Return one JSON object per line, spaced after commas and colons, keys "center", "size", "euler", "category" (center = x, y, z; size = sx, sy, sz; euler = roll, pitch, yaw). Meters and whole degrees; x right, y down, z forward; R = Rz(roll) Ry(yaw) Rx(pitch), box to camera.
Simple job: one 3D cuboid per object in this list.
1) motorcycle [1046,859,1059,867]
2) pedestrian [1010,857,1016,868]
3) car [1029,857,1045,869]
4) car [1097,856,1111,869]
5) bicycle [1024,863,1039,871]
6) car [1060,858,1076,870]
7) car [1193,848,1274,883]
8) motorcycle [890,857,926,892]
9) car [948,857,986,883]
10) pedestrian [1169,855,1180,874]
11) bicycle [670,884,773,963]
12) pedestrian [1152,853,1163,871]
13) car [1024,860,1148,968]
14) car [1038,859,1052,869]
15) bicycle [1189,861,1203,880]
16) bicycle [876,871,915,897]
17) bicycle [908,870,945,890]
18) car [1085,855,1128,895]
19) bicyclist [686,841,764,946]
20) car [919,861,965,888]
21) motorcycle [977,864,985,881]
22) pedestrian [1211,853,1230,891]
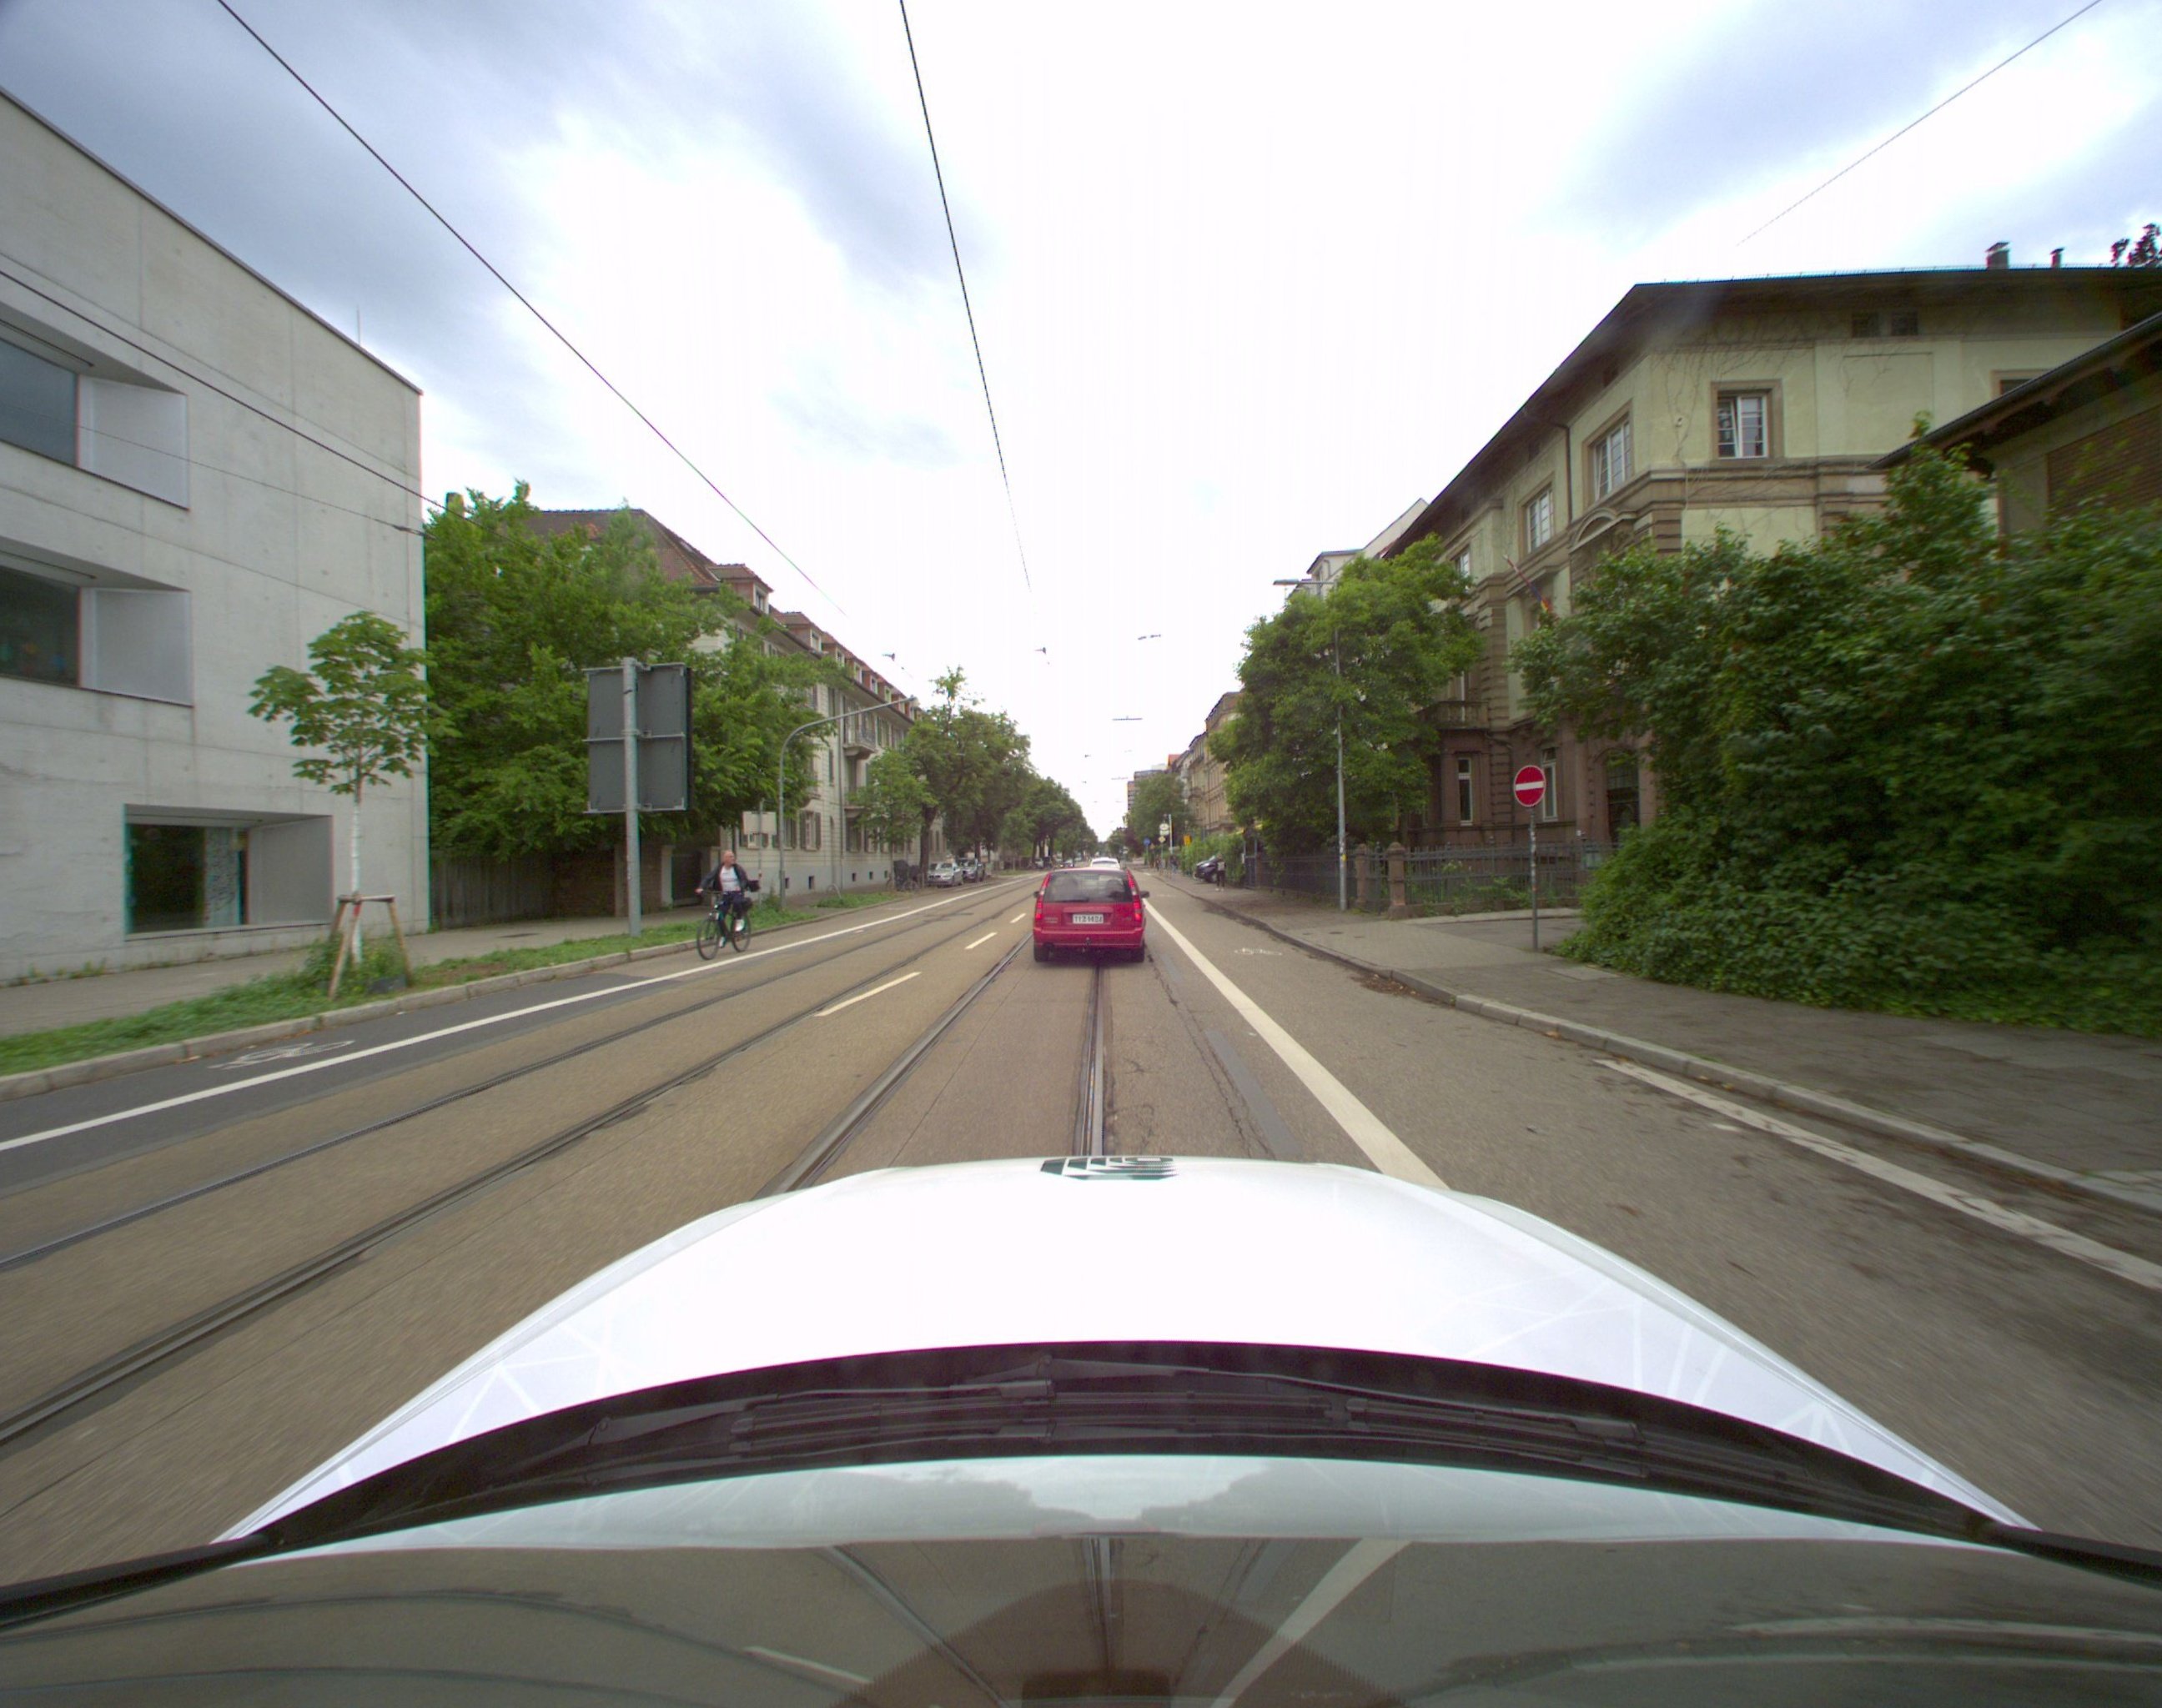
{"center": [-5.401, 1.745, 154.927], "size": [2.243, 1.511, 0.932], "euler": [-2, -2, 36], "category": "motorcycle"}
{"center": [-8.840, 1.114, 105.848], "size": [0.562, 1.467, 0.723], "euler": [-2, -1, 2], "category": "pedestrian"}
{"center": [-6.145, 1.214, 114.418], "size": [1.891, 1.655, 4.225], "euler": [-1, 0, 0], "category": "car"}
{"center": [3.053, 1.159, 109.923], "size": [1.736, 1.606, 3.999], "euler": [-1, 0, -1], "category": "car"}
{"center": [-6.720, 1.733, 110.336], "size": [1.915, 1.121, 0.624], "euler": [0, -1, 1], "category": "bicycle"}
{"center": [-1.572, 1.161, 98.271], "size": [1.723, 1.409, 3.656], "euler": [-2, 0, 1], "category": "car"}
{"center": [8.623, 0.639, 46.187], "size": [4.263, 1.809, 1.825], "euler": [-2, 0, 3], "category": "car"}
{"center": [-8.596, 0.994, 40.610], "size": [0.827, 1.643, 2.486], "euler": [-2, 0, 9], "category": "motorcycle"}
{"center": [-7.771, 1.088, 55.815], "size": [1.830, 1.661, 4.296], "euler": [1, 0, 3], "category": "car"}
{"center": [8.235, 0.890, 71.671], "size": [0.790, 1.636, 0.836], "euler": [-3, -1, 1], "category": "pedestrian"}
{"center": [-6.340, 1.191, 14.501], "size": [0.788, 1.186, 2.011], "euler": [-4, 0, 2], "category": "bicycle"}
{"center": [7.379, 0.780, 78.830], "size": [0.866, 1.656, 0.912], "euler": [-2, 0, 14], "category": "pedestrian"}
{"center": [0.145, 0.841, 13.159], "size": [1.682, 1.441, 3.745], "euler": [-1, 0, 2], "category": "car"}
{"center": [-5.881, 1.617, 133.236], "size": [1.770, 1.511, 4.240], "euler": [-1, 0, 2], "category": "car"}
{"center": [7.402, 1.036, 52.612], "size": [0.630, 1.127, 1.813], "euler": [-4, 0, 1], "category": "bicycle"}
{"center": [-8.716, 1.416, 38.282], "size": [1.727, 1.129, 0.520], "euler": [-2, -1, 19], "category": "bicycle"}
{"center": [-8.345, 1.410, 44.098], "size": [1.890, 1.027, 0.563], "euler": [0, -1, -3], "category": "bicycle"}
{"center": [1.147, 0.885, 35.514], "size": [1.711, 1.625, 3.944], "euler": [-1, 0, 3], "category": "car"}
{"center": [-6.367, 0.681, 14.639], "size": [0.788, 1.783, 1.148], "euler": [-3, 0, 2], "category": "bicyclist"}
{"center": [-8.036, 1.171, 47.481], "size": [1.805, 1.466, 4.614], "euler": [-1, 0, 1], "category": "car"}
{"center": [-7.770, 1.429, 63.371], "size": [0.539, 1.257, 2.139], "euler": [-1, 0, -5], "category": "motorcycle"}
{"center": [6.301, 0.810, 36.788], "size": [0.621, 1.671, 0.960], "euler": [-4, 0, 1], "category": "pedestrian"}
